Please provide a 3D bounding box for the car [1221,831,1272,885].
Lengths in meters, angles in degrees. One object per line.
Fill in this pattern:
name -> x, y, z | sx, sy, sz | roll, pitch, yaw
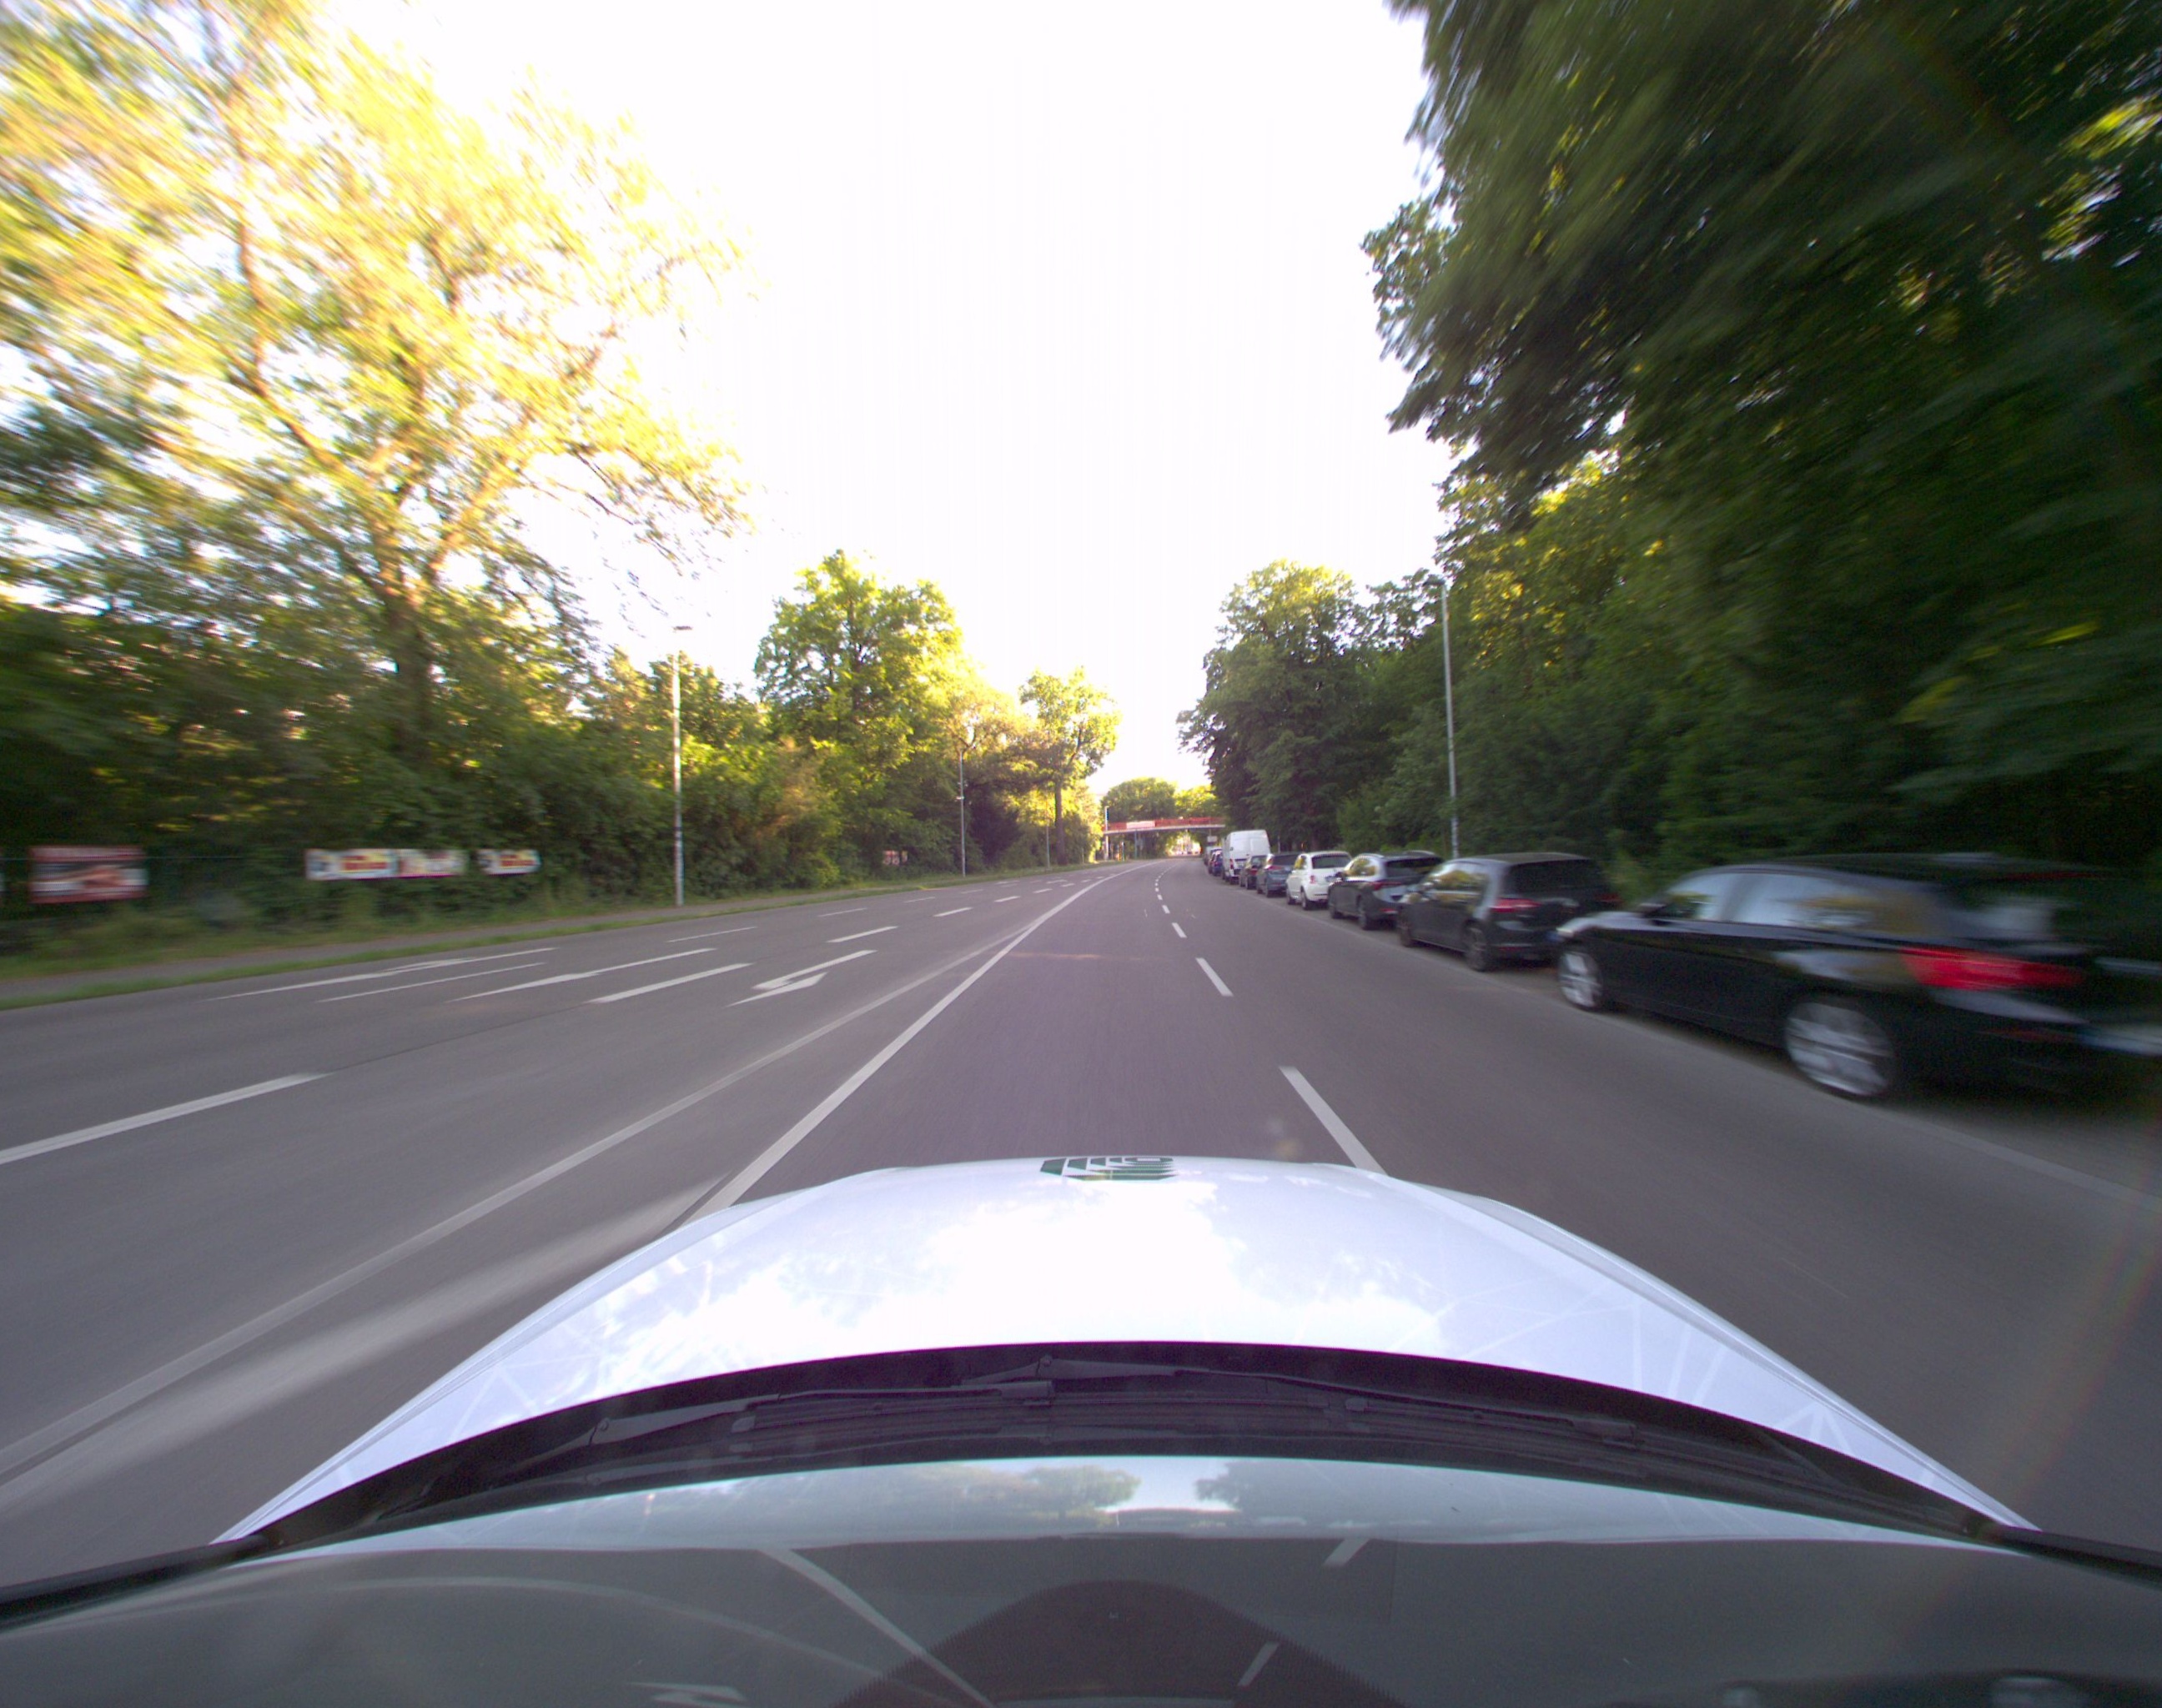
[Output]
car -> 8.068, 0.216, 40.100 | 1.894, 2.423, 5.585 | -2, -1, 6

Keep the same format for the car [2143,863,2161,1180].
car -> 5.585, 0.692, 1.571 | 1.711, 1.411, 4.125 | -2, -1, 1

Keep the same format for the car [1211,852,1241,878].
car -> 9.410, 0.694, 53.021 | 1.668, 1.535, 4.361 | -2, -1, 7

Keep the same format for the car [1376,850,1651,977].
car -> 5.820, 0.716, 11.677 | 1.711, 1.411, 4.491 | -2, -1, 3

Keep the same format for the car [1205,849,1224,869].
car -> 14.381, 0.543, 87.699 | 1.858, 1.981, 5.488 | -2, -1, 9

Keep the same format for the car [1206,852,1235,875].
car -> 10.044, 0.684, 58.767 | 1.749, 1.535, 4.998 | -2, -1, 7

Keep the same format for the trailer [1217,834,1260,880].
trailer -> 8.991, 0.199, 46.839 | 1.894, 2.423, 5.135 | -2, -1, 6

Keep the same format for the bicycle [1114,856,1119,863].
bicycle -> 6.622, 1.024, 151.716 | 0.708, 1.147, 1.998 | 0, -1, 8

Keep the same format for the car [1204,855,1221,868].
car -> 15.176, 0.829, 94.255 | 1.858, 1.406, 4.379 | -2, -1, 8

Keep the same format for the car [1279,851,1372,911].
car -> 6.653, 0.697, 22.505 | 1.670, 1.464, 3.693 | -2, -1, 4

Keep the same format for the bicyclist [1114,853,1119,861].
bicyclist -> 6.626, 0.586, 151.723 | 0.708, 1.559, 1.145 | 0, -1, 8

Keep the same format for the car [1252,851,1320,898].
car -> 7.038, 0.688, 28.305 | 1.669, 1.464, 4.072 | -2, -1, 5

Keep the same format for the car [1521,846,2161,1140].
car -> 5.445, 0.710, 6.294 | 1.711, 1.411, 4.488 | -2, -1, 1

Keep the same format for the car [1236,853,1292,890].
car -> 7.554, 0.698, 34.037 | 1.669, 1.400, 4.657 | -2, -1, 5

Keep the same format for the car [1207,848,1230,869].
car -> 12.648, 0.419, 75.139 | 1.749, 1.804, 4.746 | -2, -1, 7

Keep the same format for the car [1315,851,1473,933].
car -> 6.302, 0.713, 17.035 | 1.710, 1.411, 4.912 | -2, -1, 4
